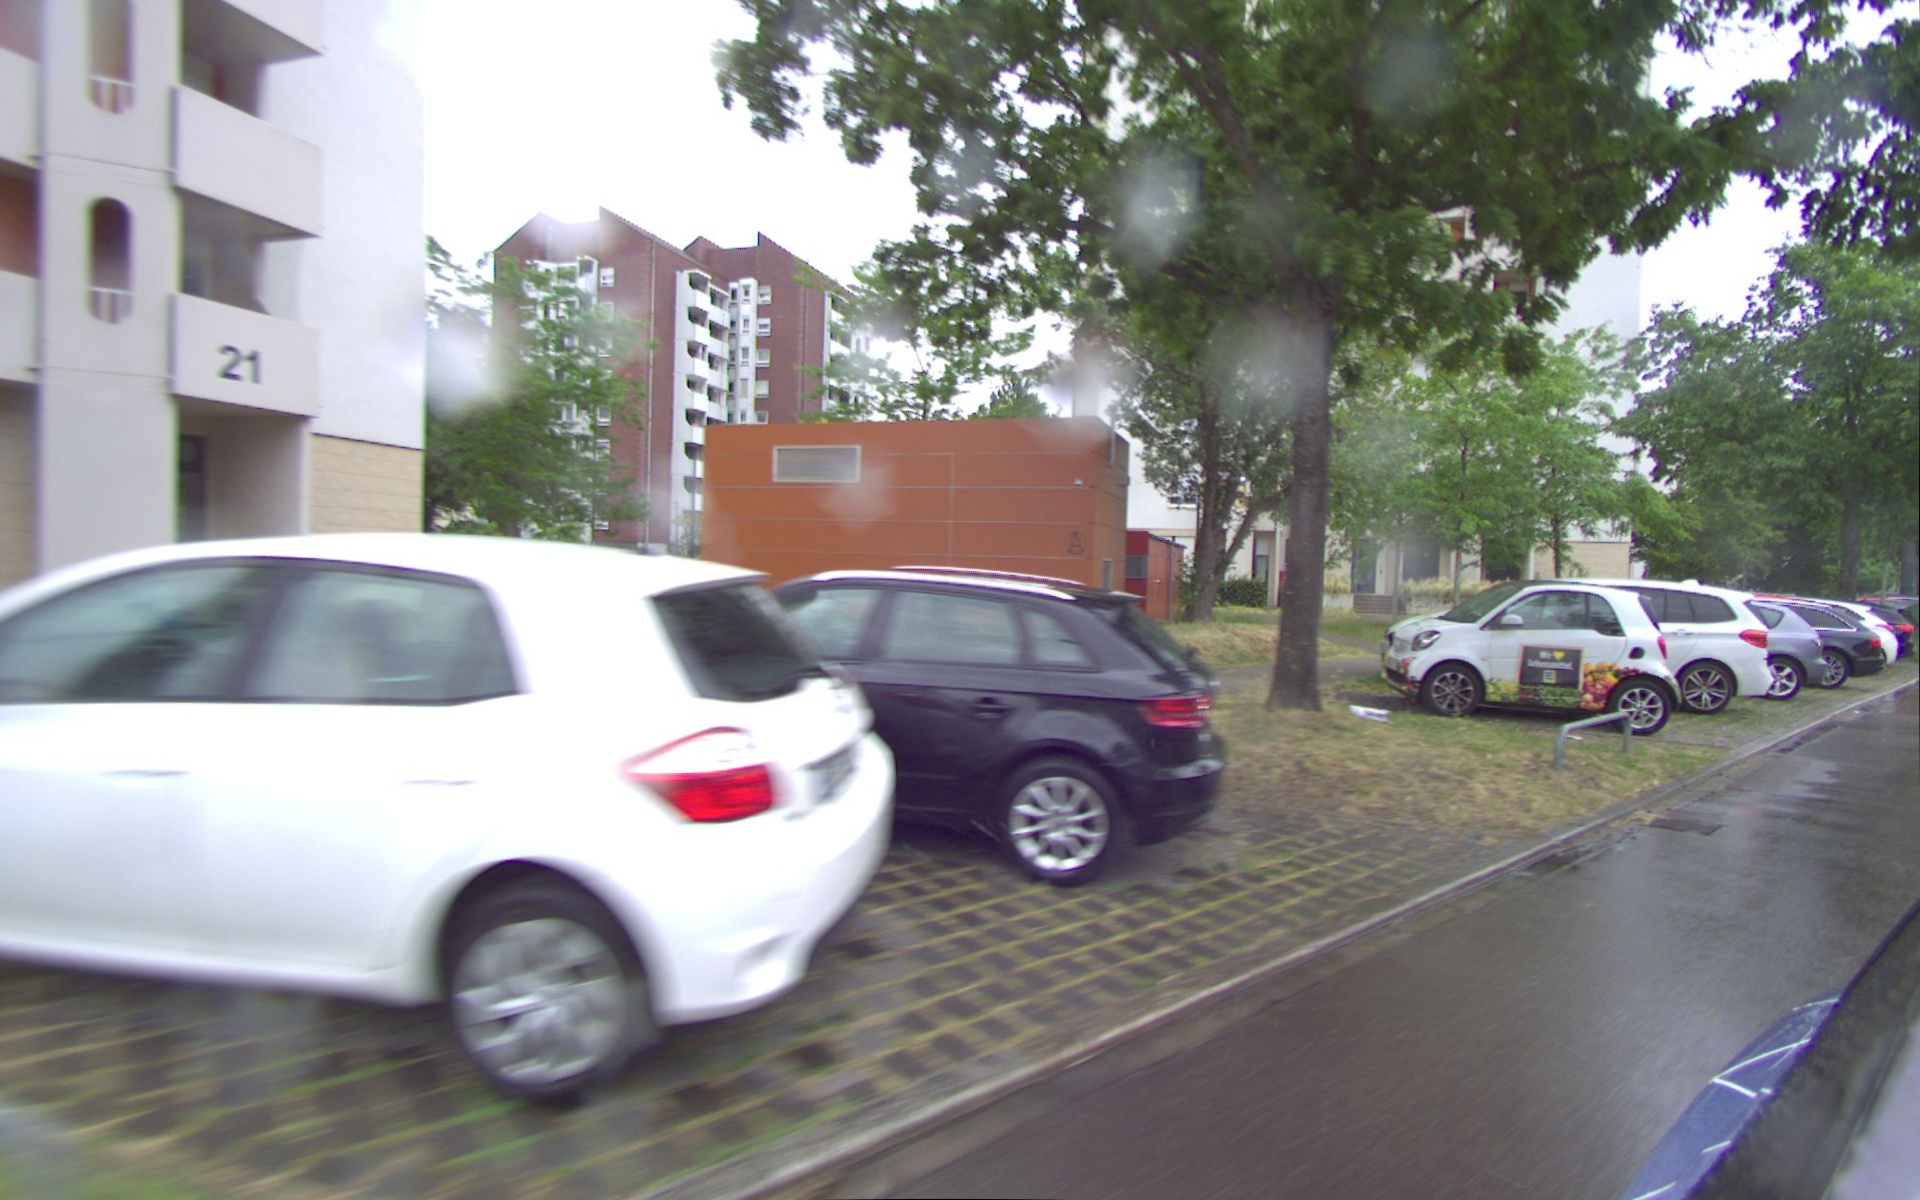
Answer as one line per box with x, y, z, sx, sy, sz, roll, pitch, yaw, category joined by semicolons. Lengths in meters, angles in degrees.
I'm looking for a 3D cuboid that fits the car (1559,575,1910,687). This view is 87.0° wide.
13.184;0.456;17.563;4.400;1.445;1.677;5;3;16;car

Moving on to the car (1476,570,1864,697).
10.601;0.430;15.513;4.398;1.427;1.760;5;3;15;car

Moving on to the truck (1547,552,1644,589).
44.426;-2.082;70.913;5.632;2.468;2.101;1;2;32;truck

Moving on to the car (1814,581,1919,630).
34.345;0.188;37.271;3.987;1.706;1.718;2;2;14;car

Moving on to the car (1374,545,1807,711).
8.112;0.278;13.474;4.390;1.692;1.808;5;3;10;car

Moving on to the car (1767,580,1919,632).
31.400;0.191;35.813;3.988;1.506;1.718;5;2;14;car

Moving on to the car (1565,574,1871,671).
14.848;0.378;20.092;4.392;1.445;1.804;5;3;11;car

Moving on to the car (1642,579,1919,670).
17.484;0.469;21.594;4.398;1.483;1.812;5;3;15;car

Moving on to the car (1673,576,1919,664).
19.676;0.422;23.716;4.403;1.560;1.676;5;4;18;car

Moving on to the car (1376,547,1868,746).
7.082;0.411;11.312;4.123;1.692;1.679;5;3;13;car

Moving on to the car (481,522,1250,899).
-0.467;0.437;5.799;3.886;1.448;1.679;5;3;13;car

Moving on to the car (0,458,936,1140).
-2.314;0.369;3.732;4.119;1.566;1.761;5;3;10;car

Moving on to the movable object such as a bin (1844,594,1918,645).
25.020;0.512;27.516;0.981;1.329;1.183;1;1;11;movable object such as a bin

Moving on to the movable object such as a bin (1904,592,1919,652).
25.945;0.587;26.674;1.152;1.581;1.363;1;1;26;movable object such as a bin
